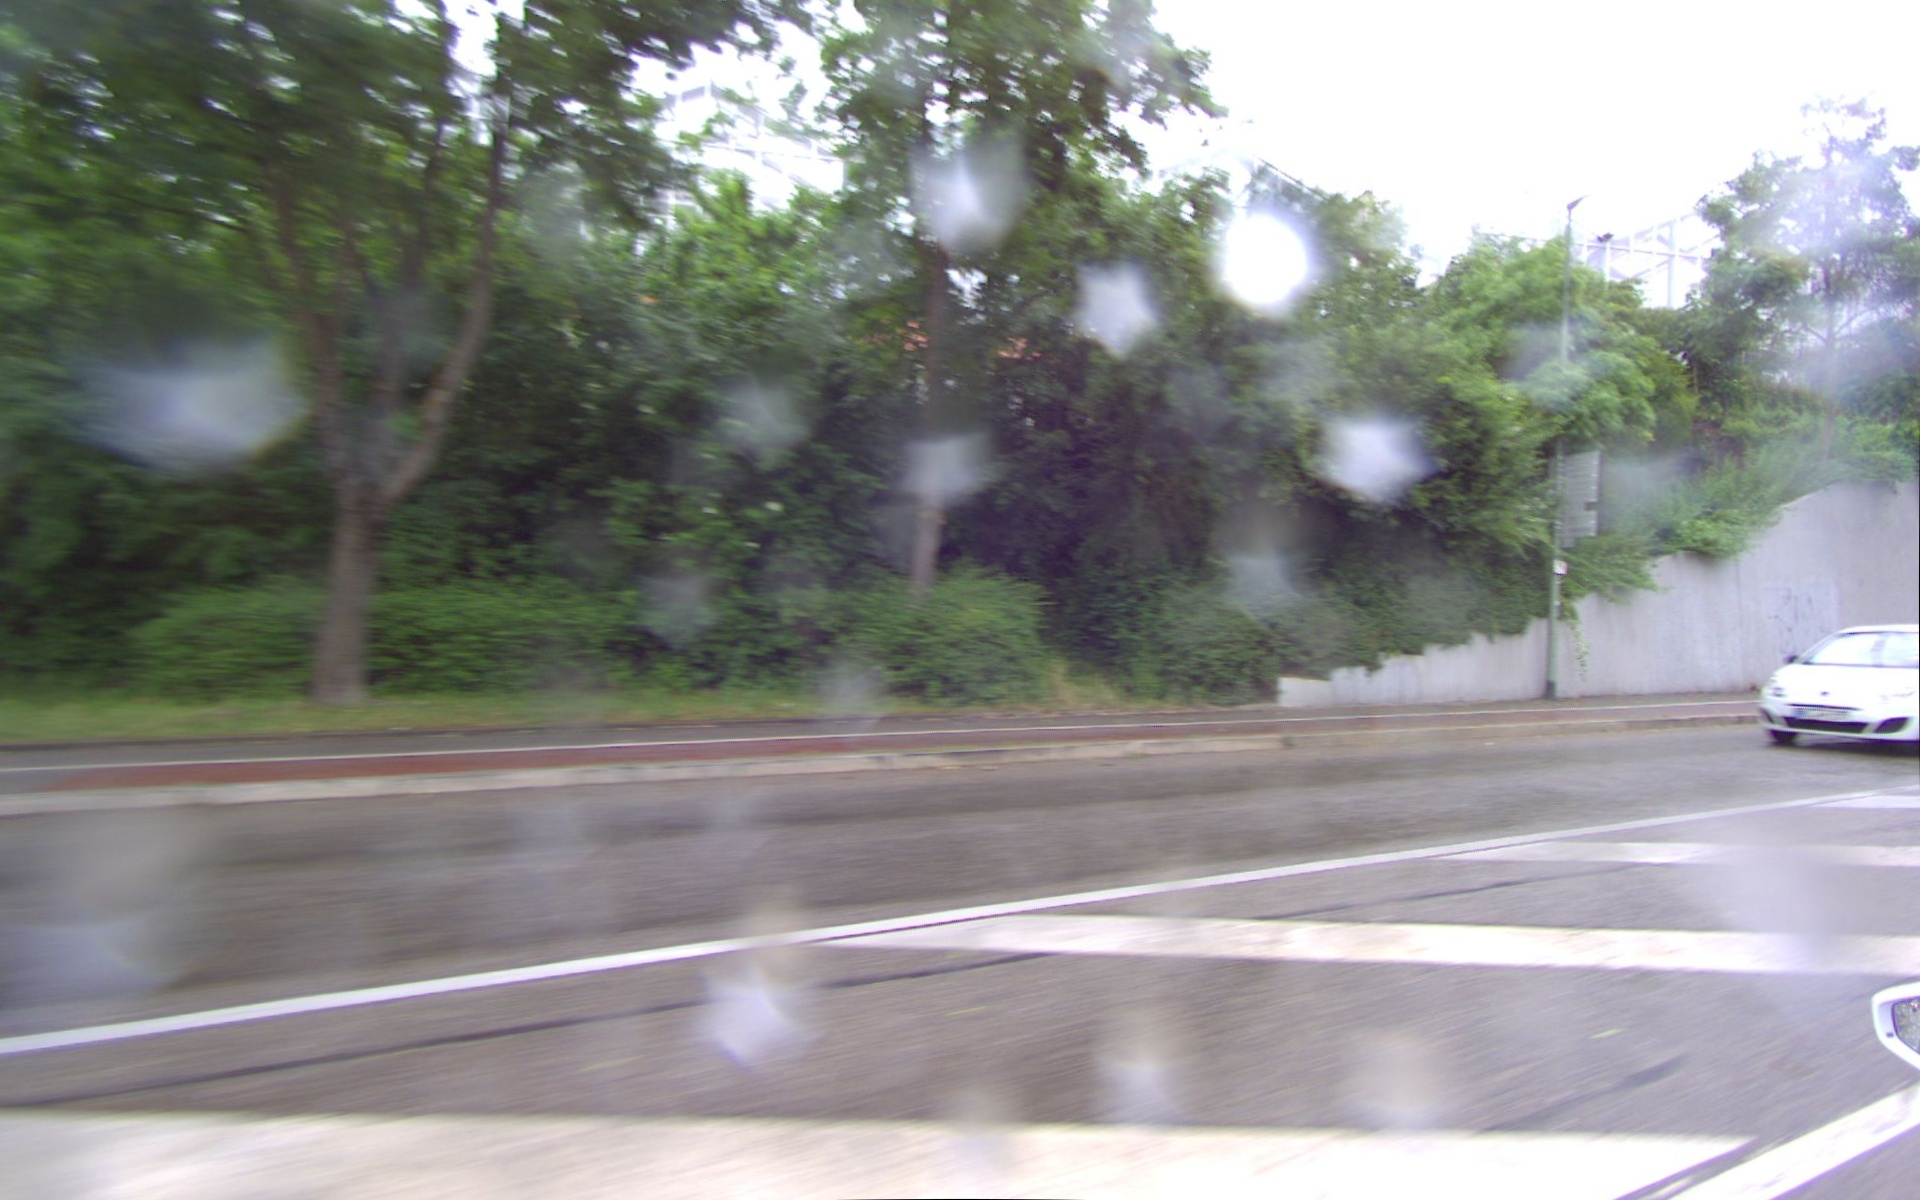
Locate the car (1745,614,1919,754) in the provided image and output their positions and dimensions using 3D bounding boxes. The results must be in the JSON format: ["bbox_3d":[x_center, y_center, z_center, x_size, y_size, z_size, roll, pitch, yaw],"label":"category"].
[{"bbox_3d":[11.517,0.949,12.217,3.763,1.468,1.508,1,0,-24],"label":"car"}]
